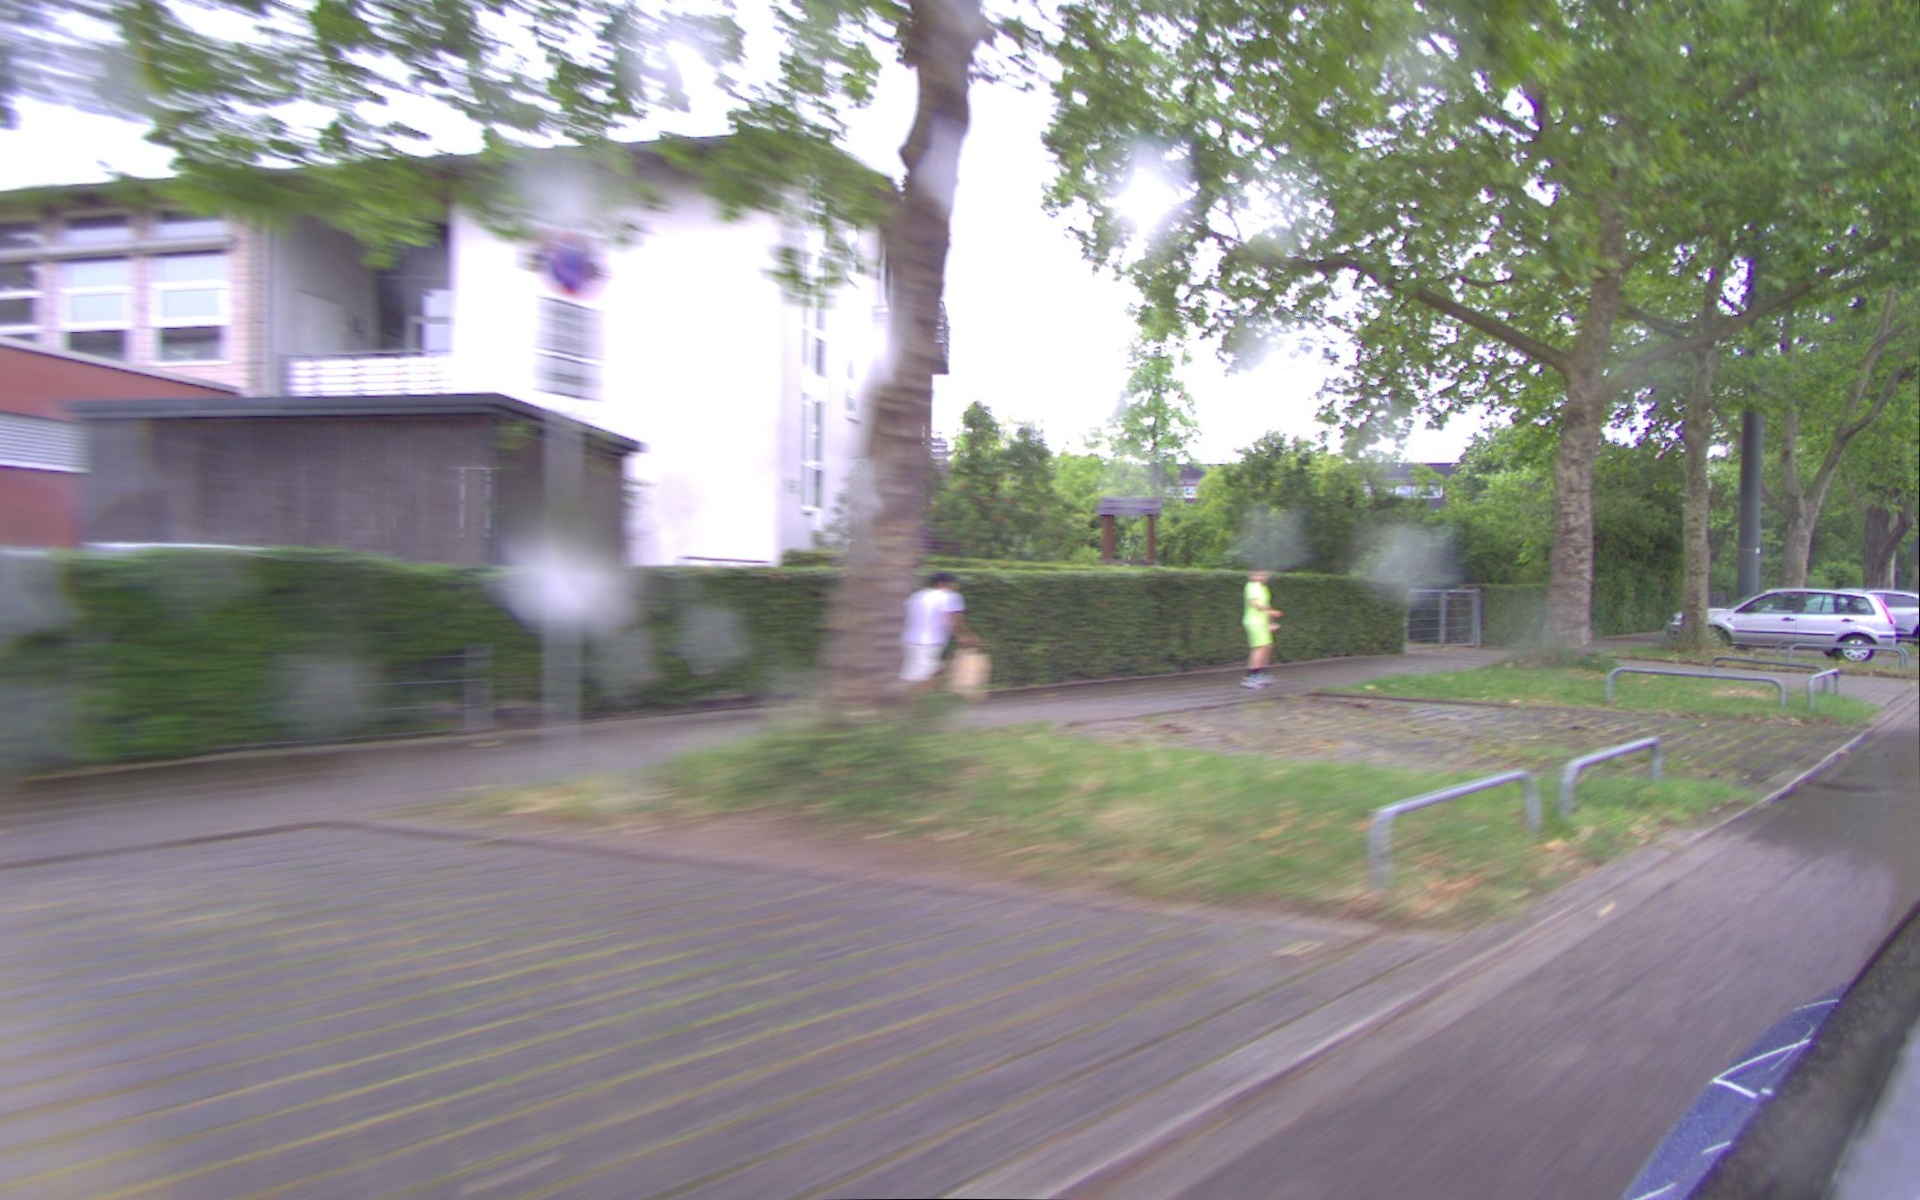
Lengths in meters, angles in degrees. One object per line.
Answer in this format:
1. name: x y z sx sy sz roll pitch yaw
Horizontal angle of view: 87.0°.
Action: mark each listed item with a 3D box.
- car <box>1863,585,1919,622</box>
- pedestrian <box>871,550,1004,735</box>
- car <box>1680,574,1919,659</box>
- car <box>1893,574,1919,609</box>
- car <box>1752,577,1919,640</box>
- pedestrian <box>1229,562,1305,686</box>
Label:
1. car: 44.590 0.250 46.208 4.498 1.564 1.878 4 2 16
2. pedestrian: -0.204 0.340 9.163 0.833 1.557 0.846 3 2 44
3. car: 18.274 0.298 22.181 3.837 1.585 1.602 3 2 31
4. car: 58.217 -0.415 59.176 4.954 2.038 1.992 3 1 13
5. car: 26.294 0.232 29.412 4.701 1.689 1.988 1 2 12
6. pedestrian: 4.041 0.289 13.307 0.556 1.557 0.951 2 2 44
